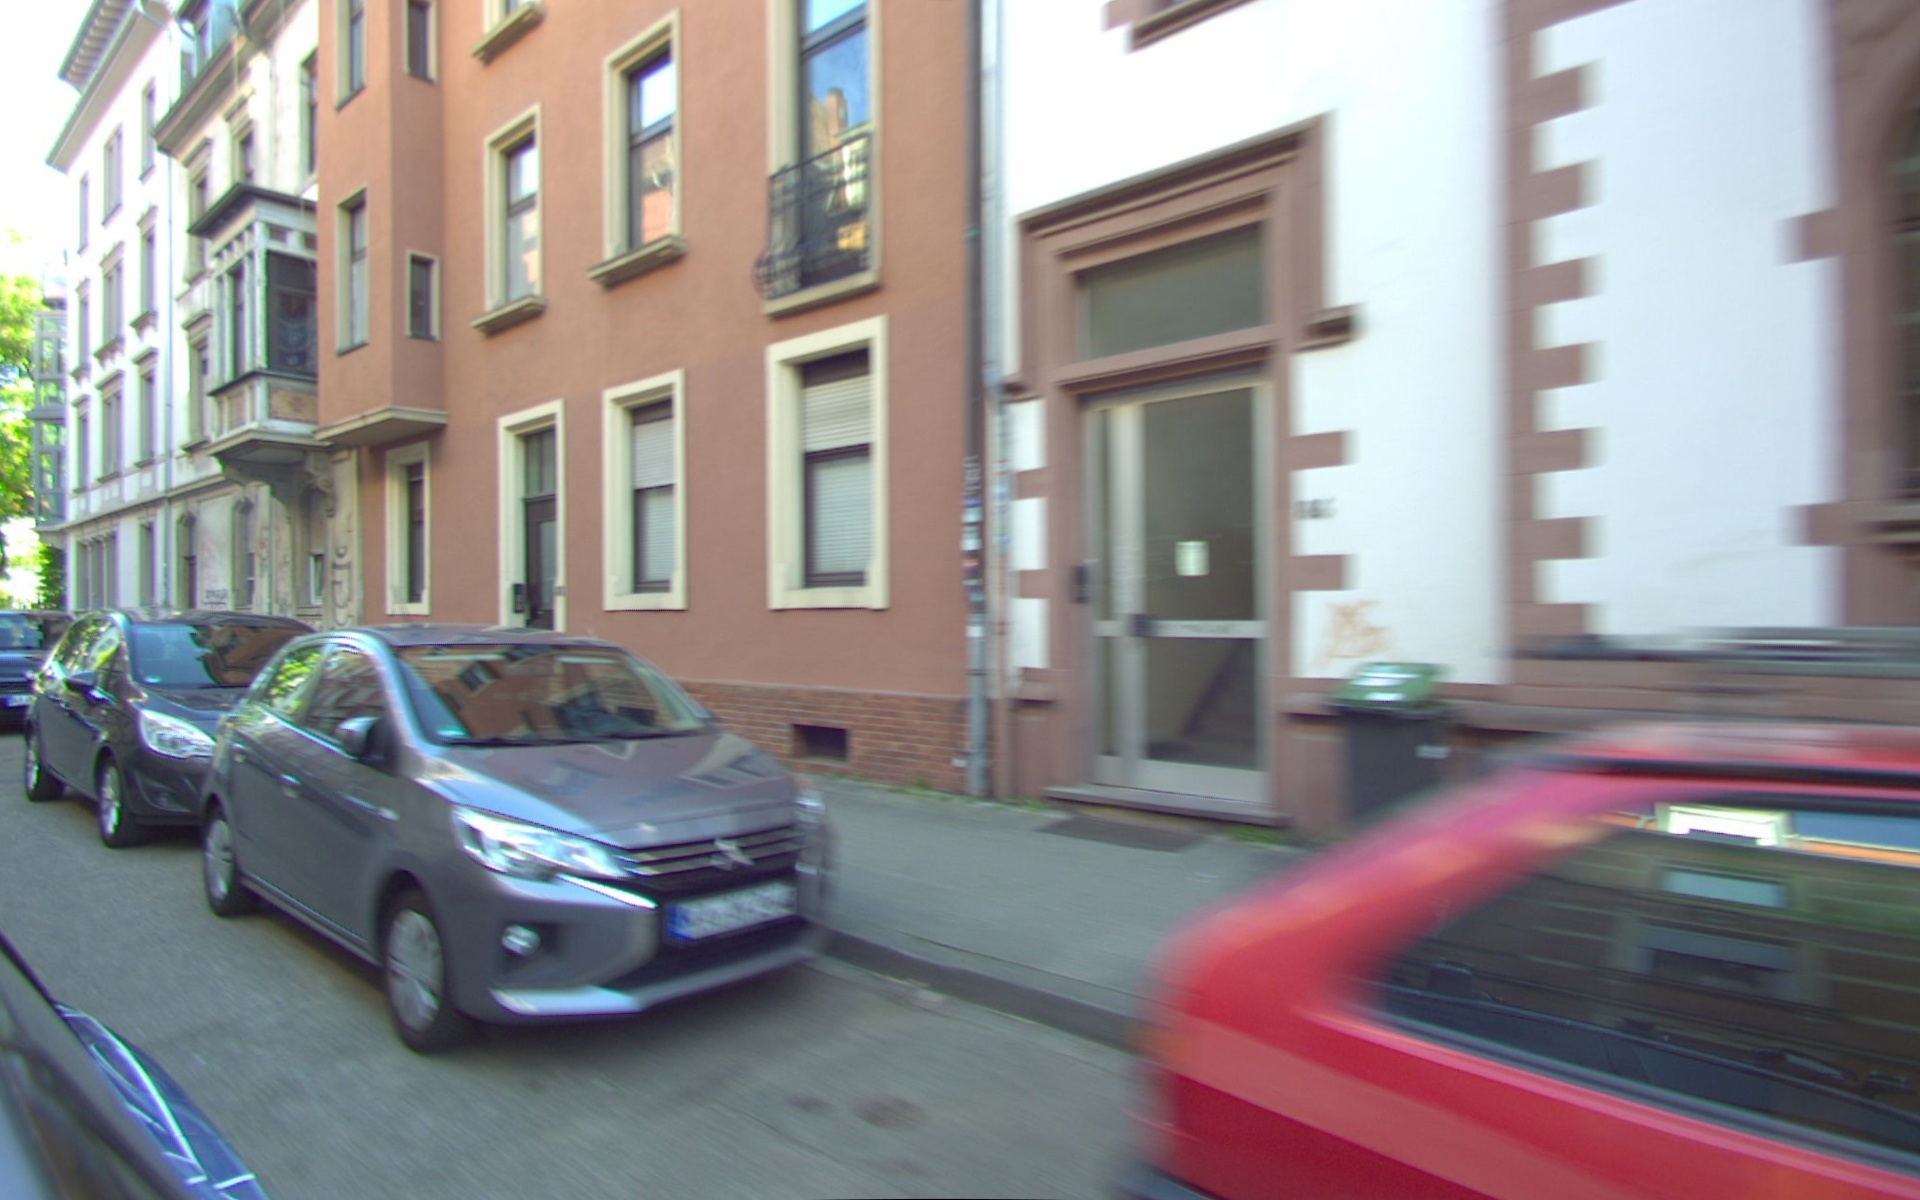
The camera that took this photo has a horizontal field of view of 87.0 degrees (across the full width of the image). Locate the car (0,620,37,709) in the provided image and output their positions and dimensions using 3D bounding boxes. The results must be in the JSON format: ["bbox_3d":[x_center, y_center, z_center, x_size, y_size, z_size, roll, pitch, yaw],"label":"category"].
[{"bbox_3d":[-17.575,1.088,17.623,3.835,1.467,1.626,-1,-4,39],"label":"car"}]

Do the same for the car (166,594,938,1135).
[{"bbox_3d":[-2.127,0.802,4.726,3.916,1.486,1.677,-1,-4,40],"label":"car"}]

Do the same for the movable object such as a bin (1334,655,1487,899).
[{"bbox_3d":[2.174,0.807,4.873,0.558,1.034,0.546,-1,0,35],"label":"movable object such as a bin"}]

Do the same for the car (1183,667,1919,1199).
[{"bbox_3d":[2.236,0.792,1.035,3.609,1.337,1.602,-1,-4,39],"label":"car"}]

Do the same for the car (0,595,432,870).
[{"bbox_3d":[-5.961,0.815,7.937,4.064,1.618,1.764,-1,-1,39],"label":"car"}]

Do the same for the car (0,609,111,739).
[{"bbox_3d":[-13.532,0.968,14.272,4.186,1.630,1.743,-1,-1,41],"label":"car"}]
